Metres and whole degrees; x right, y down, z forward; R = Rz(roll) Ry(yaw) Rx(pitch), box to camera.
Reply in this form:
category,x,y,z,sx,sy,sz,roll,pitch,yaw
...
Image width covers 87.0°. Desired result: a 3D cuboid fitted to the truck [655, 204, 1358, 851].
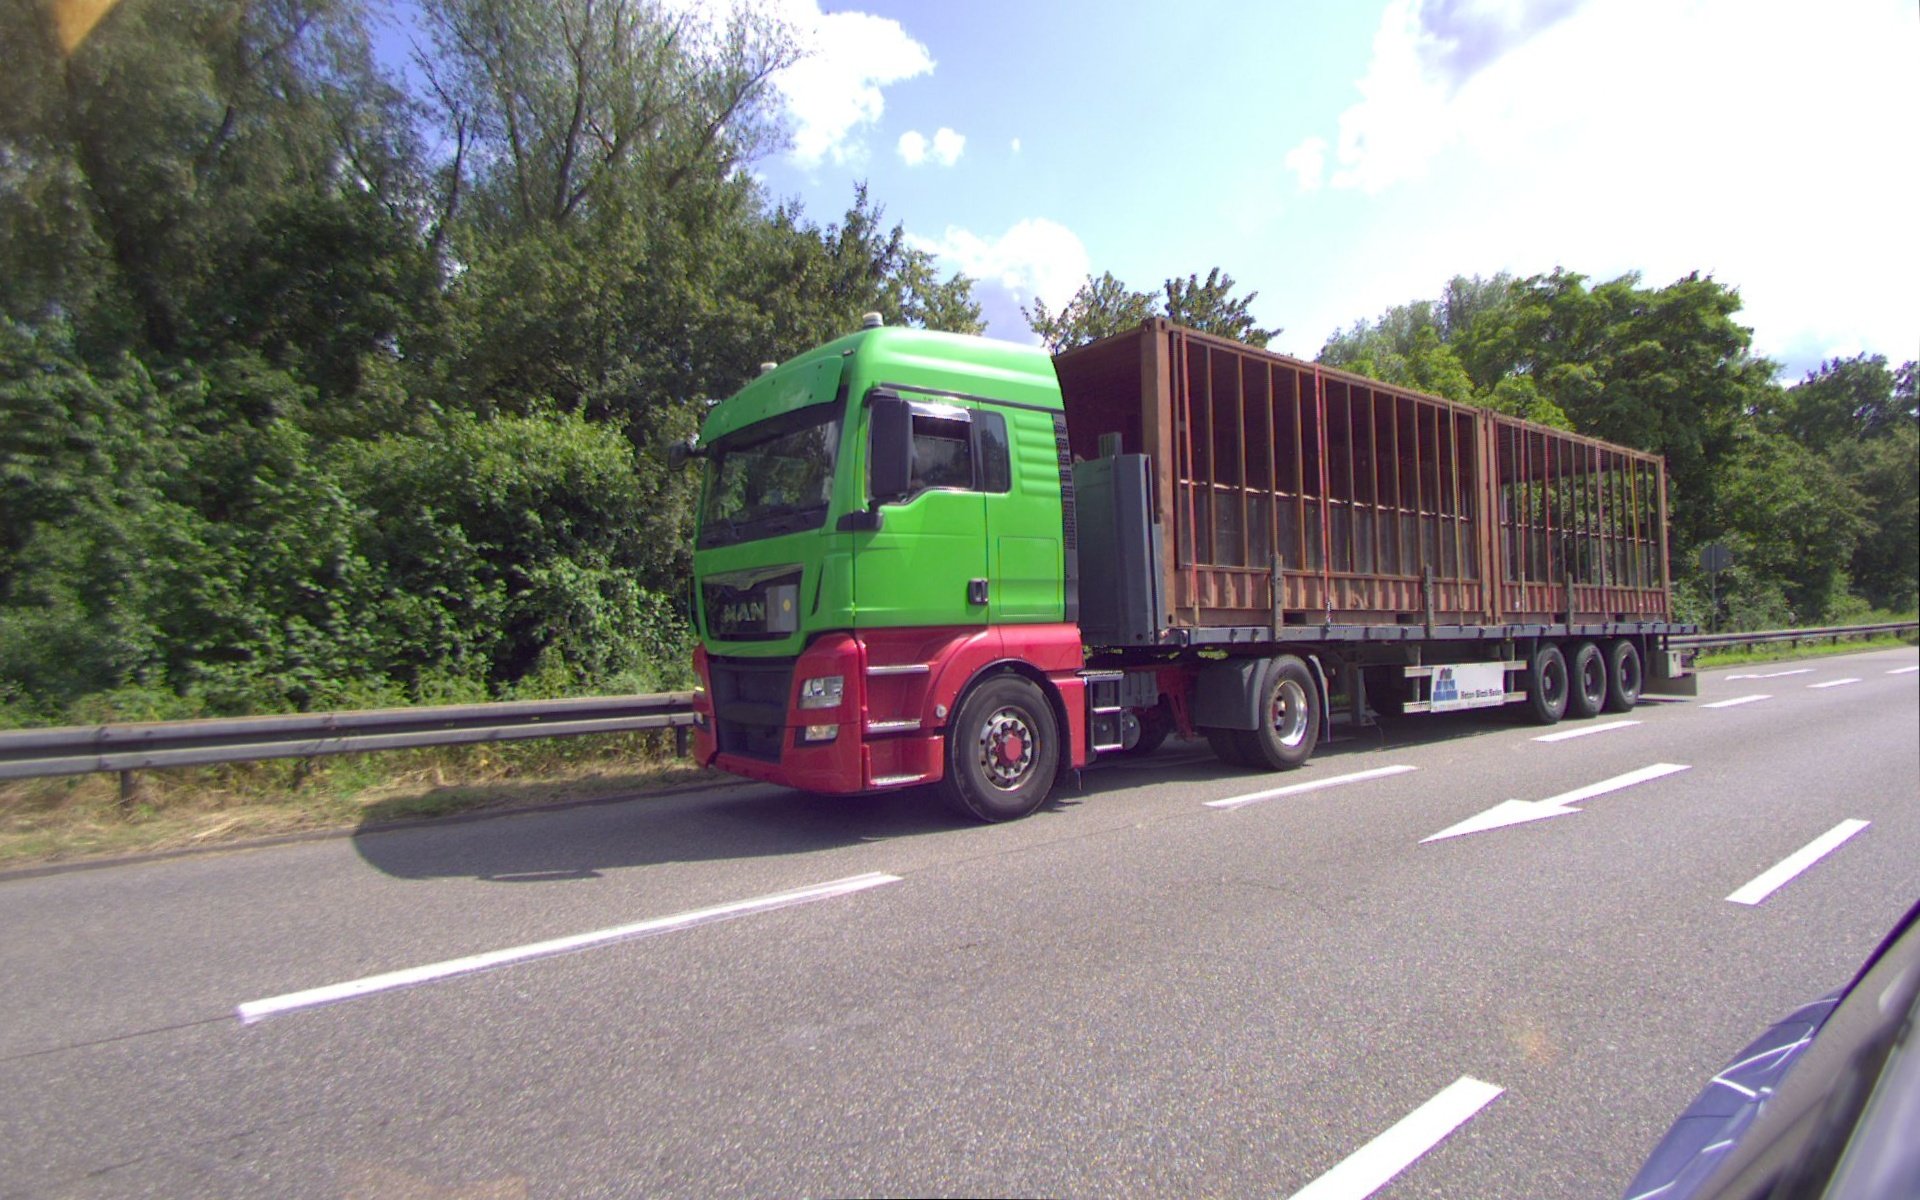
category,x,y,z,sx,sy,sz,roll,pitch,yaw
truck,0.674,-0.412,9.020,5.951,3.945,2.590,0,-3,-38

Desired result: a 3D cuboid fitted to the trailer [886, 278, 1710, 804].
category,x,y,z,sx,sy,sz,roll,pitch,yaw
trailer,5.702,-0.402,13.012,14.237,3.944,2.590,0,-3,-38
